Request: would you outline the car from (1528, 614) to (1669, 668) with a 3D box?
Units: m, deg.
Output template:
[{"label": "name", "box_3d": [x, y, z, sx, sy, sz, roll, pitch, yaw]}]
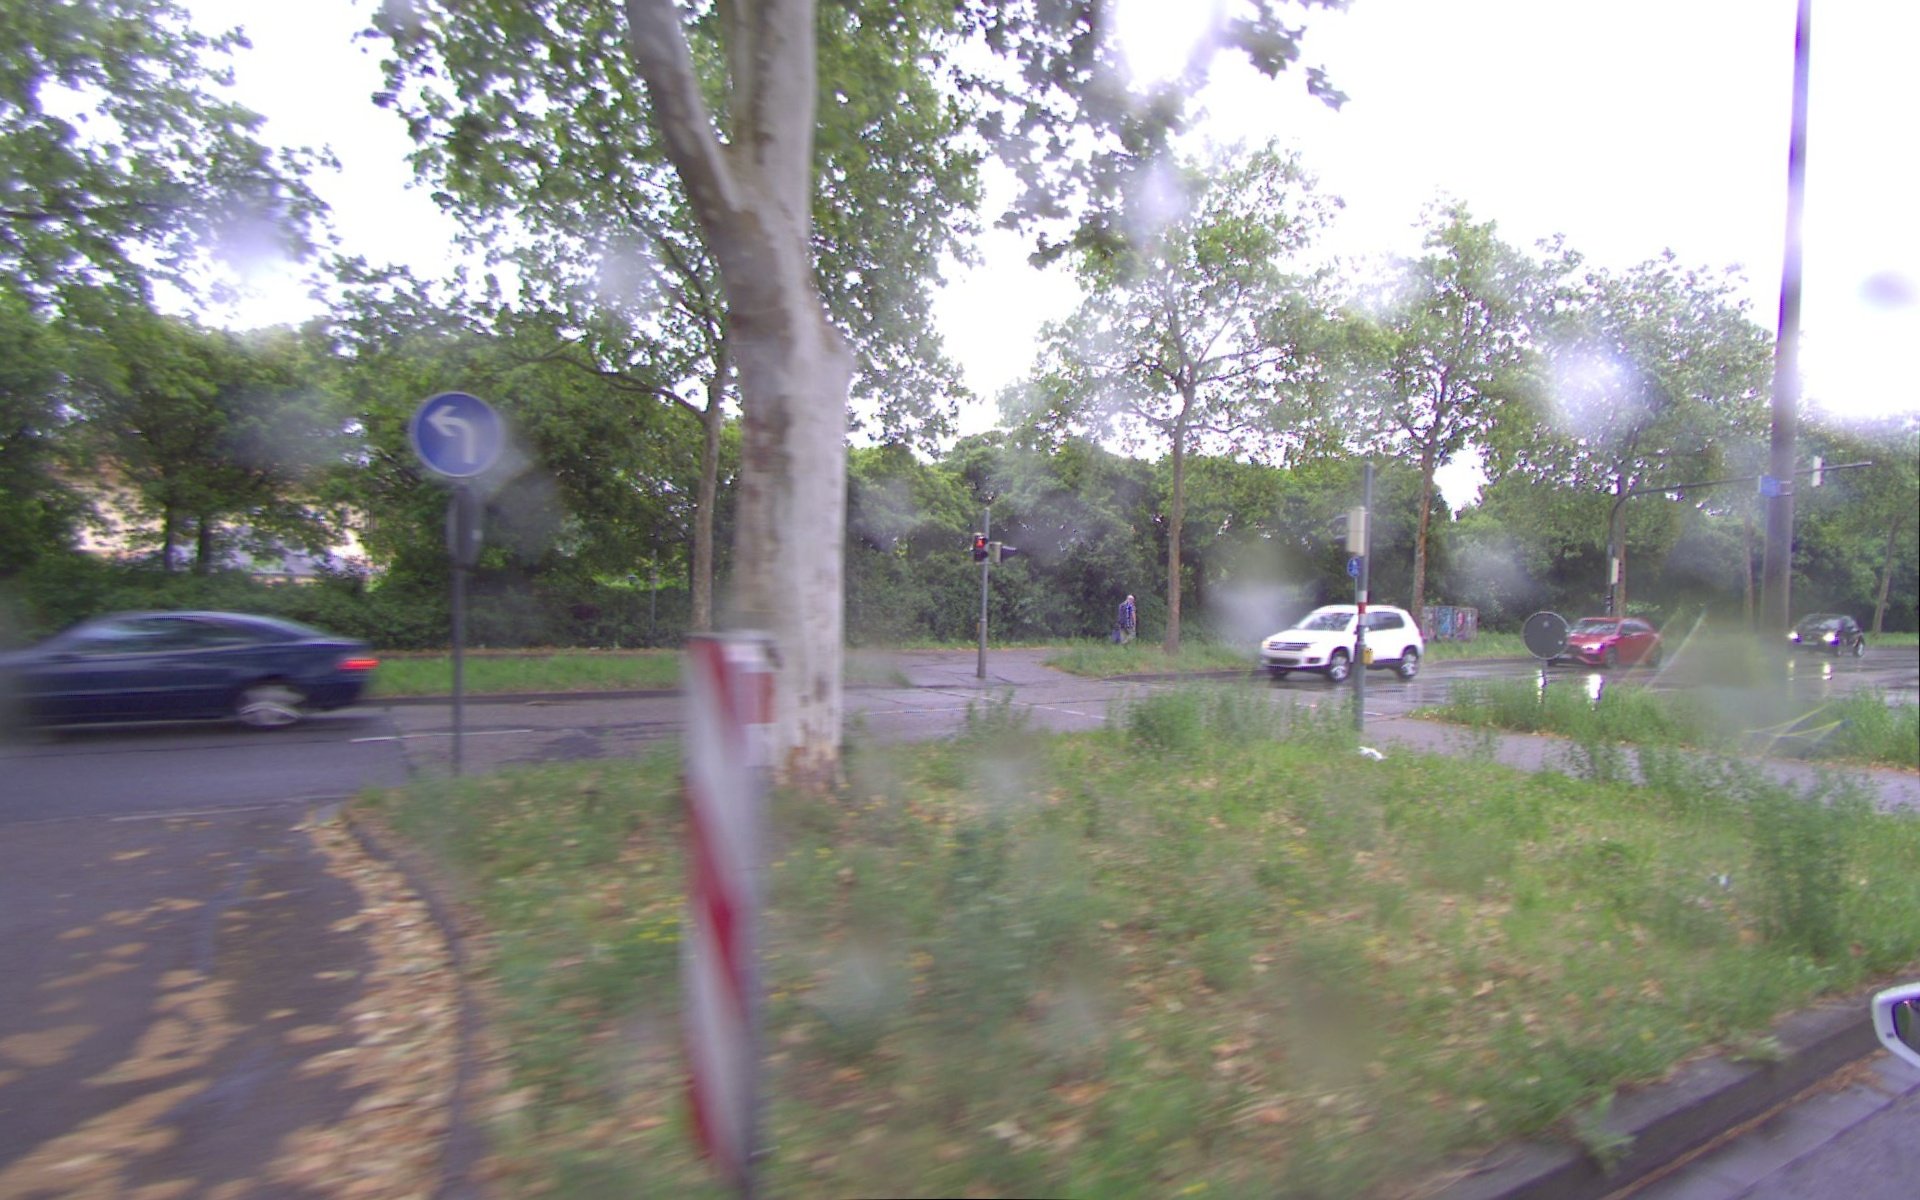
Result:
[{"label": "car", "box_3d": [18.700, 1.188, 29.370, 4.394, 1.427, 1.734, 2, 0, -32]}]

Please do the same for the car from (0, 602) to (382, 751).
[{"label": "car", "box_3d": [-9.164, 0.779, 11.503, 4.394, 1.458, 1.734, 0, 1, -32]}]

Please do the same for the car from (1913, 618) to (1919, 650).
[{"label": "car", "box_3d": [43.319, 1.521, 43.708, 4.213, 1.391, 1.579, 2, 0, -31]}]

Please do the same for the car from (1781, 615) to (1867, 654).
[{"label": "car", "box_3d": [32.733, 1.294, 38.034, 3.298, 1.391, 1.578, 2, 0, -33]}]

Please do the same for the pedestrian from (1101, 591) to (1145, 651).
[{"label": "pedestrian", "box_3d": [4.694, 0.602, 28.877, 0.889, 1.696, 0.826, 1, 0, -32]}]

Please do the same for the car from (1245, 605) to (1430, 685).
[{"label": "car", "box_3d": [8.716, 0.996, 23.077, 4.398, 1.653, 1.732, 2, 0, -34]}]
